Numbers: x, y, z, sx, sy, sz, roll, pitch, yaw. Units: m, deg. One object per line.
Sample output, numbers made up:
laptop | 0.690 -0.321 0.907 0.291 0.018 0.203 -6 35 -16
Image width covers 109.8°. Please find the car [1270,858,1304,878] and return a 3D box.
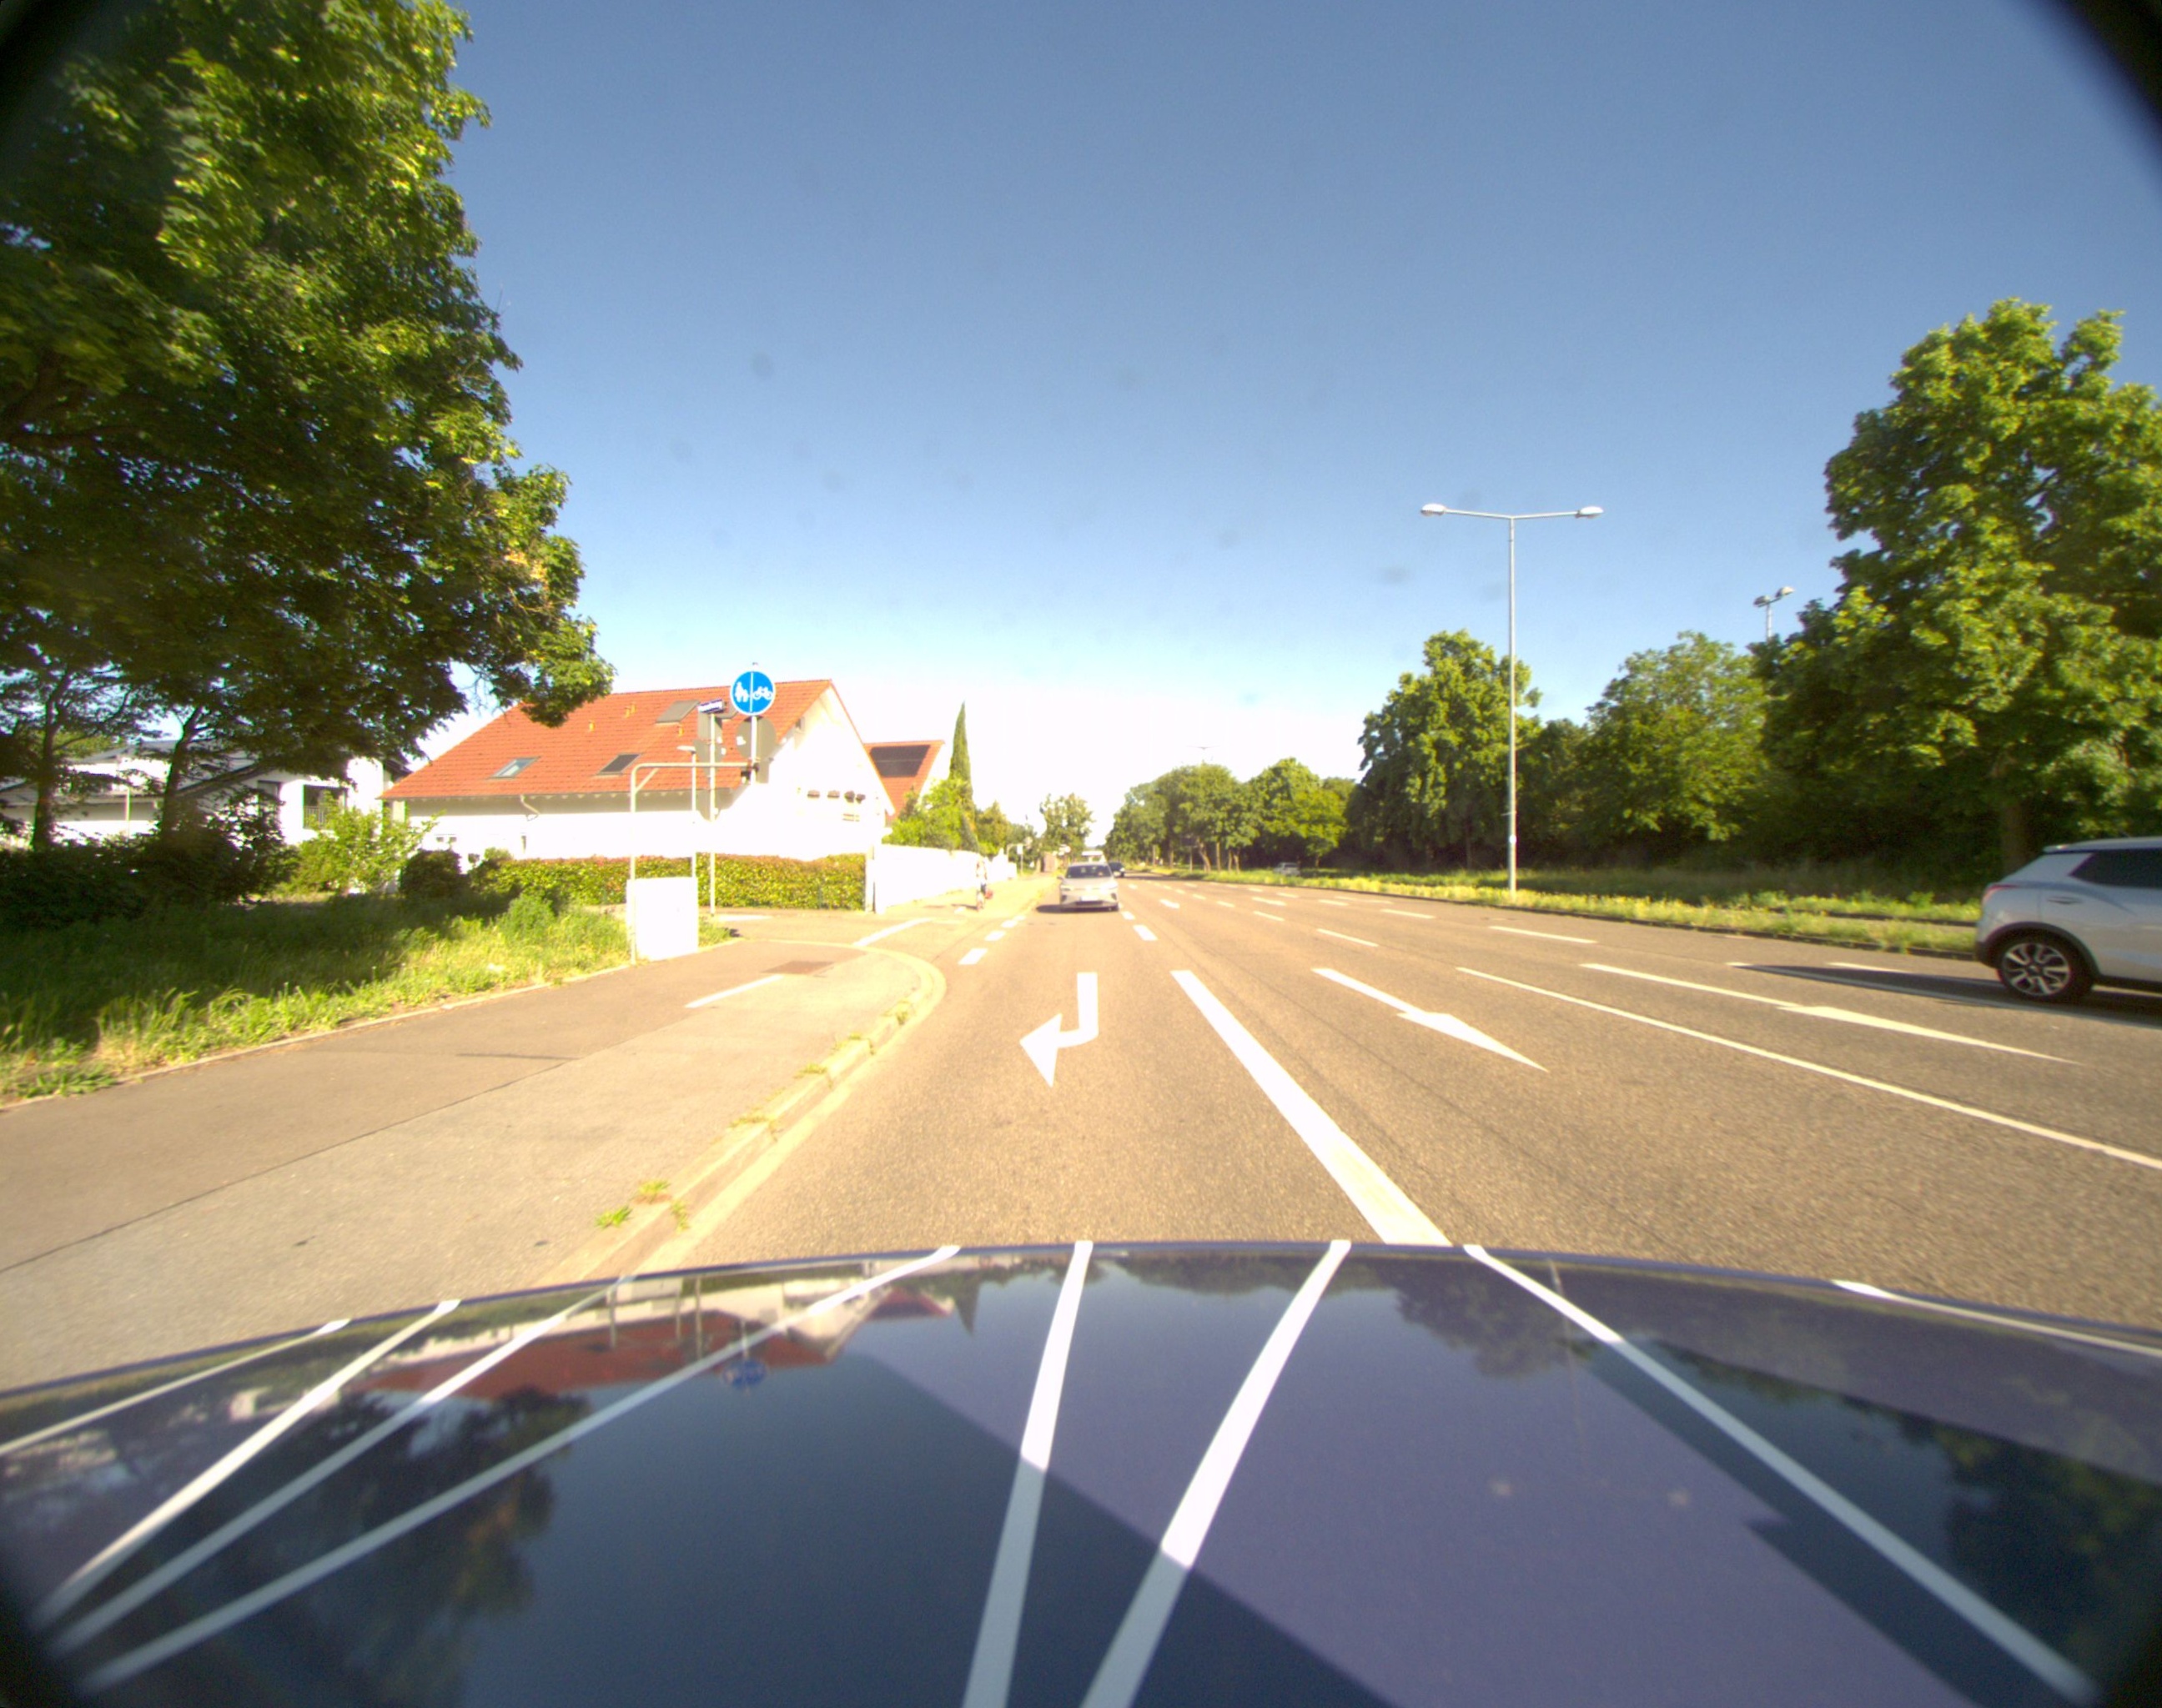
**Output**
car | 18.873 1.270 69.896 1.917 1.693 4.407 -2 1 1

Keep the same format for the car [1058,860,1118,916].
car | 0.218 1.052 25.344 1.766 1.606 4.297 -2 0 0

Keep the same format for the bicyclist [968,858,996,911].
bicyclist | -3.134 0.967 24.140 0.631 1.623 0.982 3 0 3

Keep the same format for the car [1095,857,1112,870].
car | 2.948 1.262 98.743 1.856 1.576 3.998 -1 0 -3

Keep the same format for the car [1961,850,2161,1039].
car | 10.037 0.763 5.851 1.789 1.600 4.106 0 0 0

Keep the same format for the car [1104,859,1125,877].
car | 3.169 1.300 72.676 1.766 1.606 4.297 -1 0 0

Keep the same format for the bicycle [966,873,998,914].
bicycle | -3.125 1.226 24.115 0.575 1.148 2.141 3 1 3
